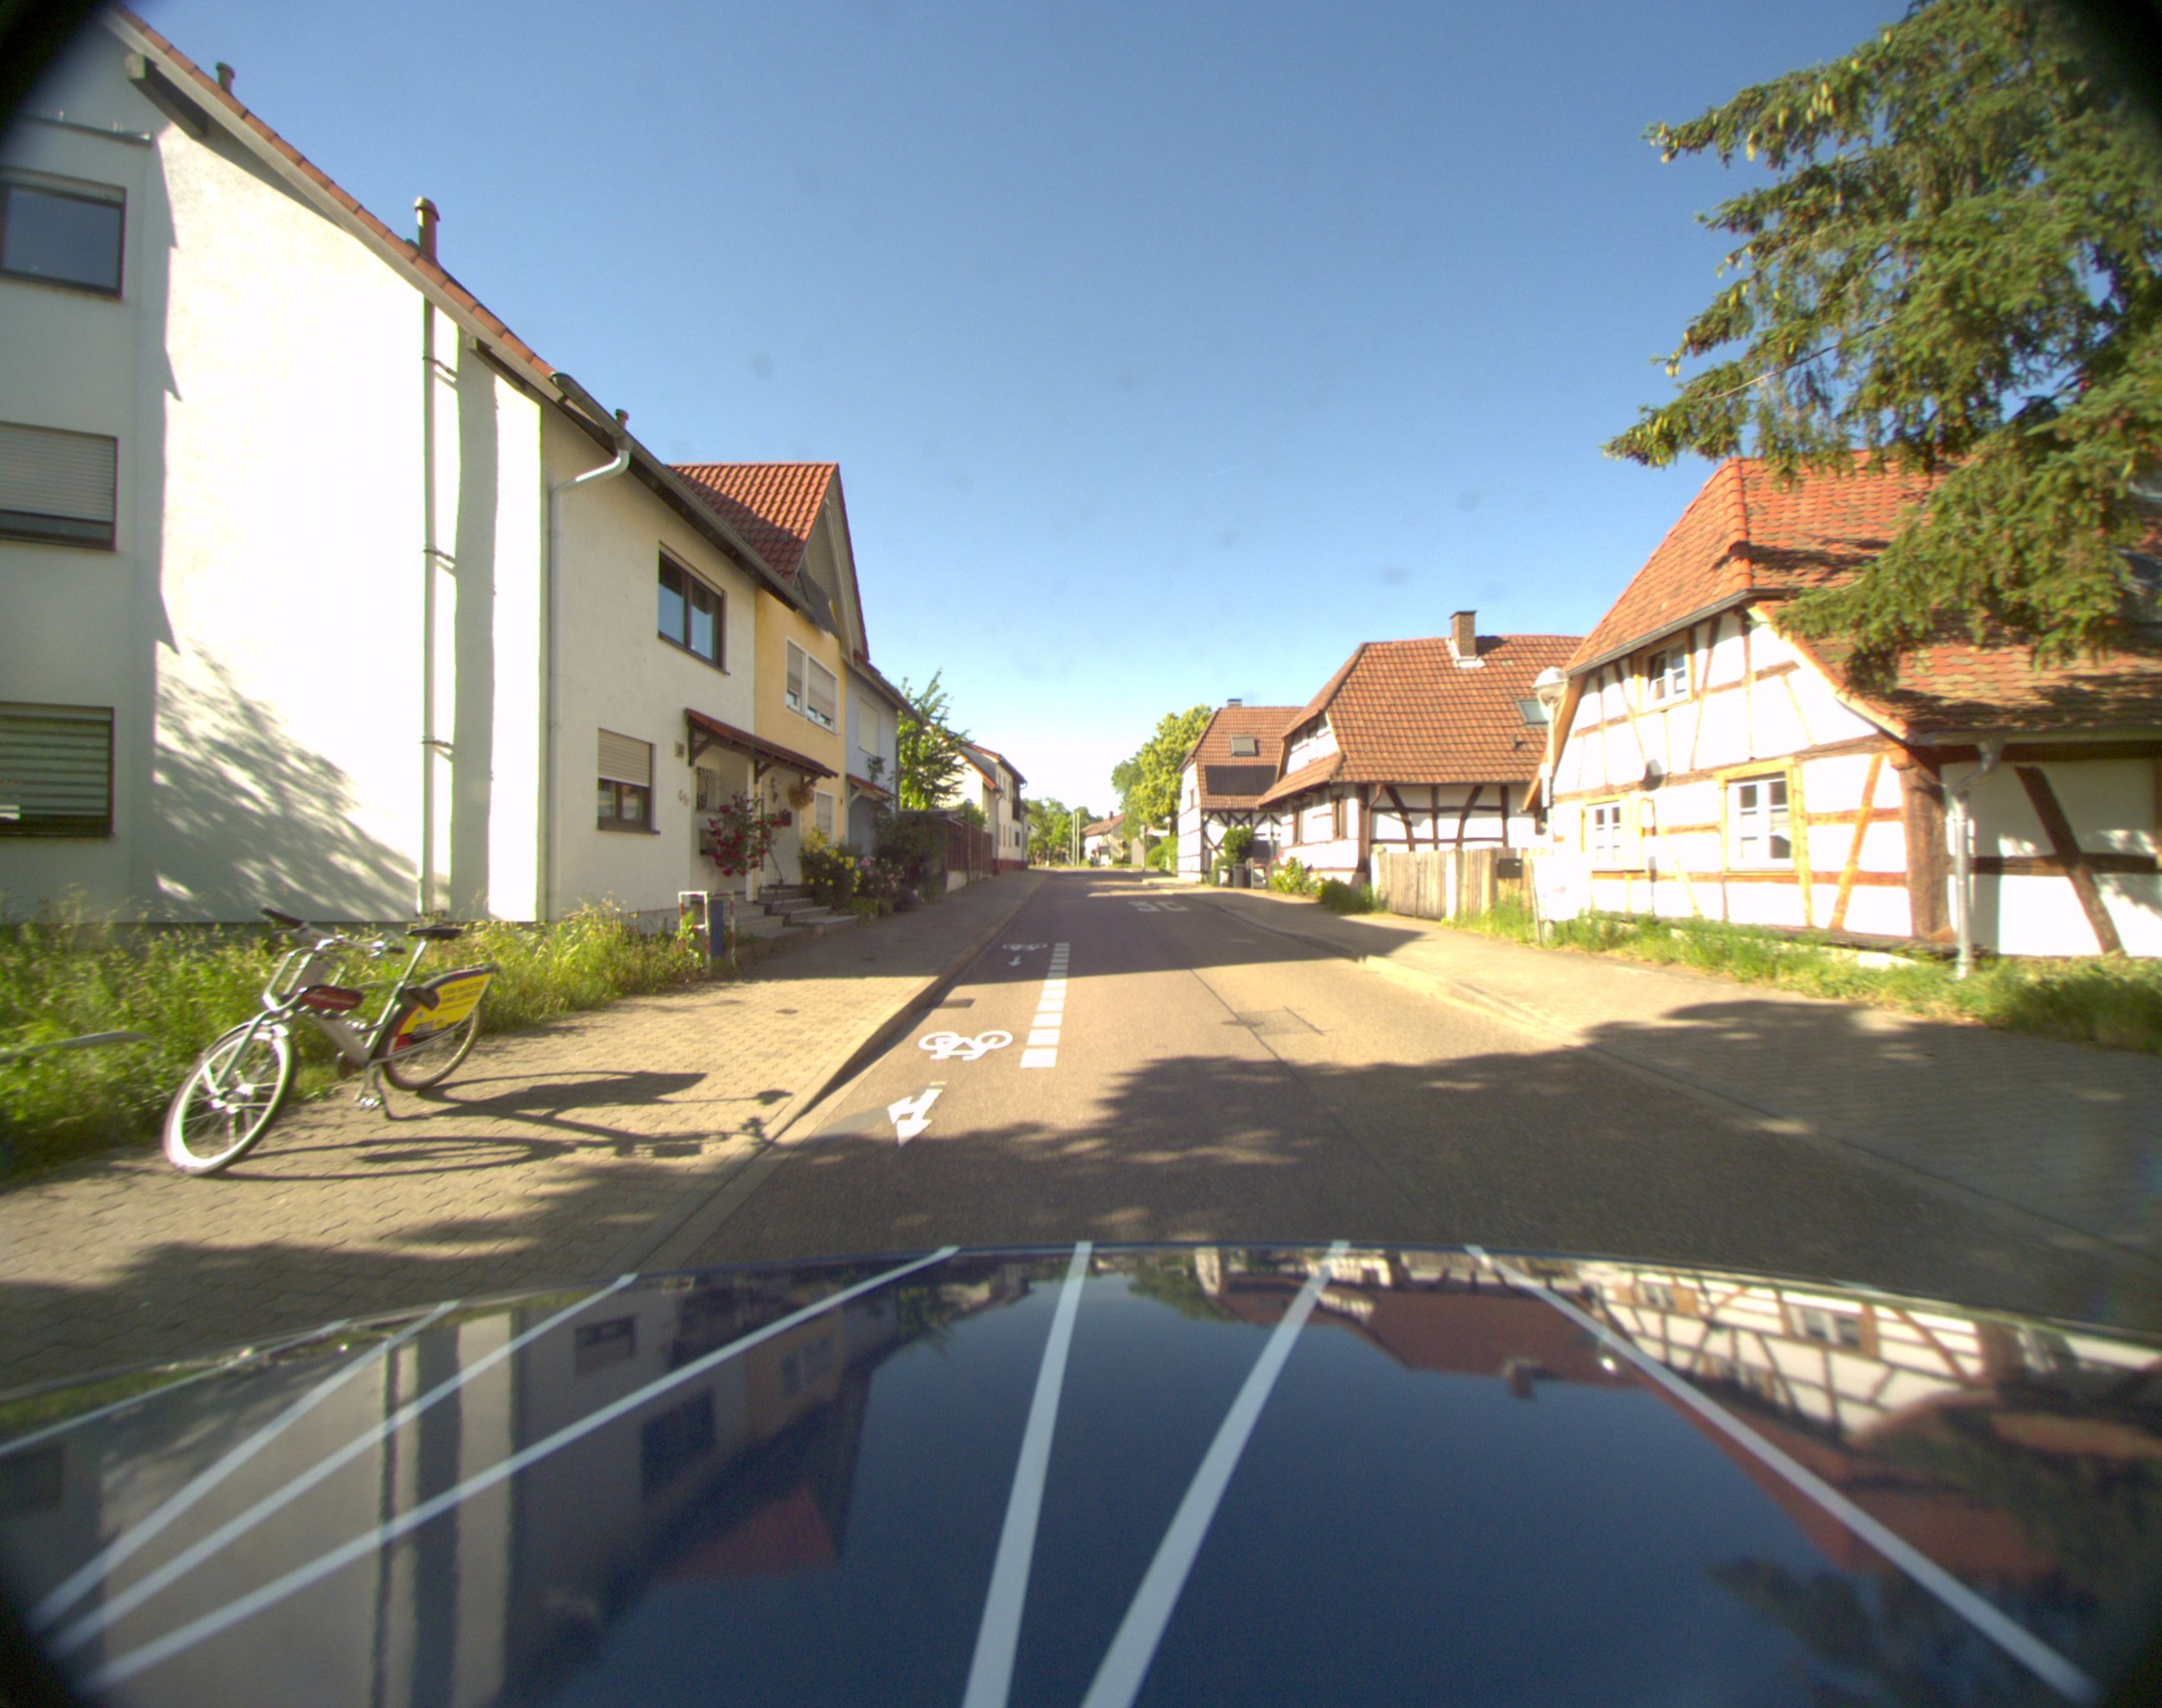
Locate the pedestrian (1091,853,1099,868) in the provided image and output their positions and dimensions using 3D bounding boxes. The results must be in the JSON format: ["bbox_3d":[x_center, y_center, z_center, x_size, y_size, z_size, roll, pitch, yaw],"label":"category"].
[{"bbox_3d":[1.697,0.764,93.090,0.716,1.793,0.772,-1,2,29],"label":"pedestrian"}]

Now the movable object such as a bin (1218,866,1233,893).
[{"bbox_3d":[6.204,1.093,32.621,0.477,1.134,0.667,0,1,0],"label":"movable object such as a bin"}]

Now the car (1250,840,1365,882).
[{"bbox_3d":[9.107,0.249,30.792,4.114,1.583,1.819,1,1,0],"label":"car"}]

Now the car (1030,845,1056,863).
[{"bbox_3d":[-4.219,0.039,84.505,1.968,1.908,4.571,0,0,-15],"label":"car"}]

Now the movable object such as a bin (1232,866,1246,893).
[{"bbox_3d":[6.782,1.093,32.627,0.477,1.134,0.667,0,1,0],"label":"movable object such as a bin"}]

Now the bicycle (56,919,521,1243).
[{"bbox_3d":[-3.806,0.996,3.874,0.690,1.150,1.539,4,0,0],"label":"bicycle"}]
